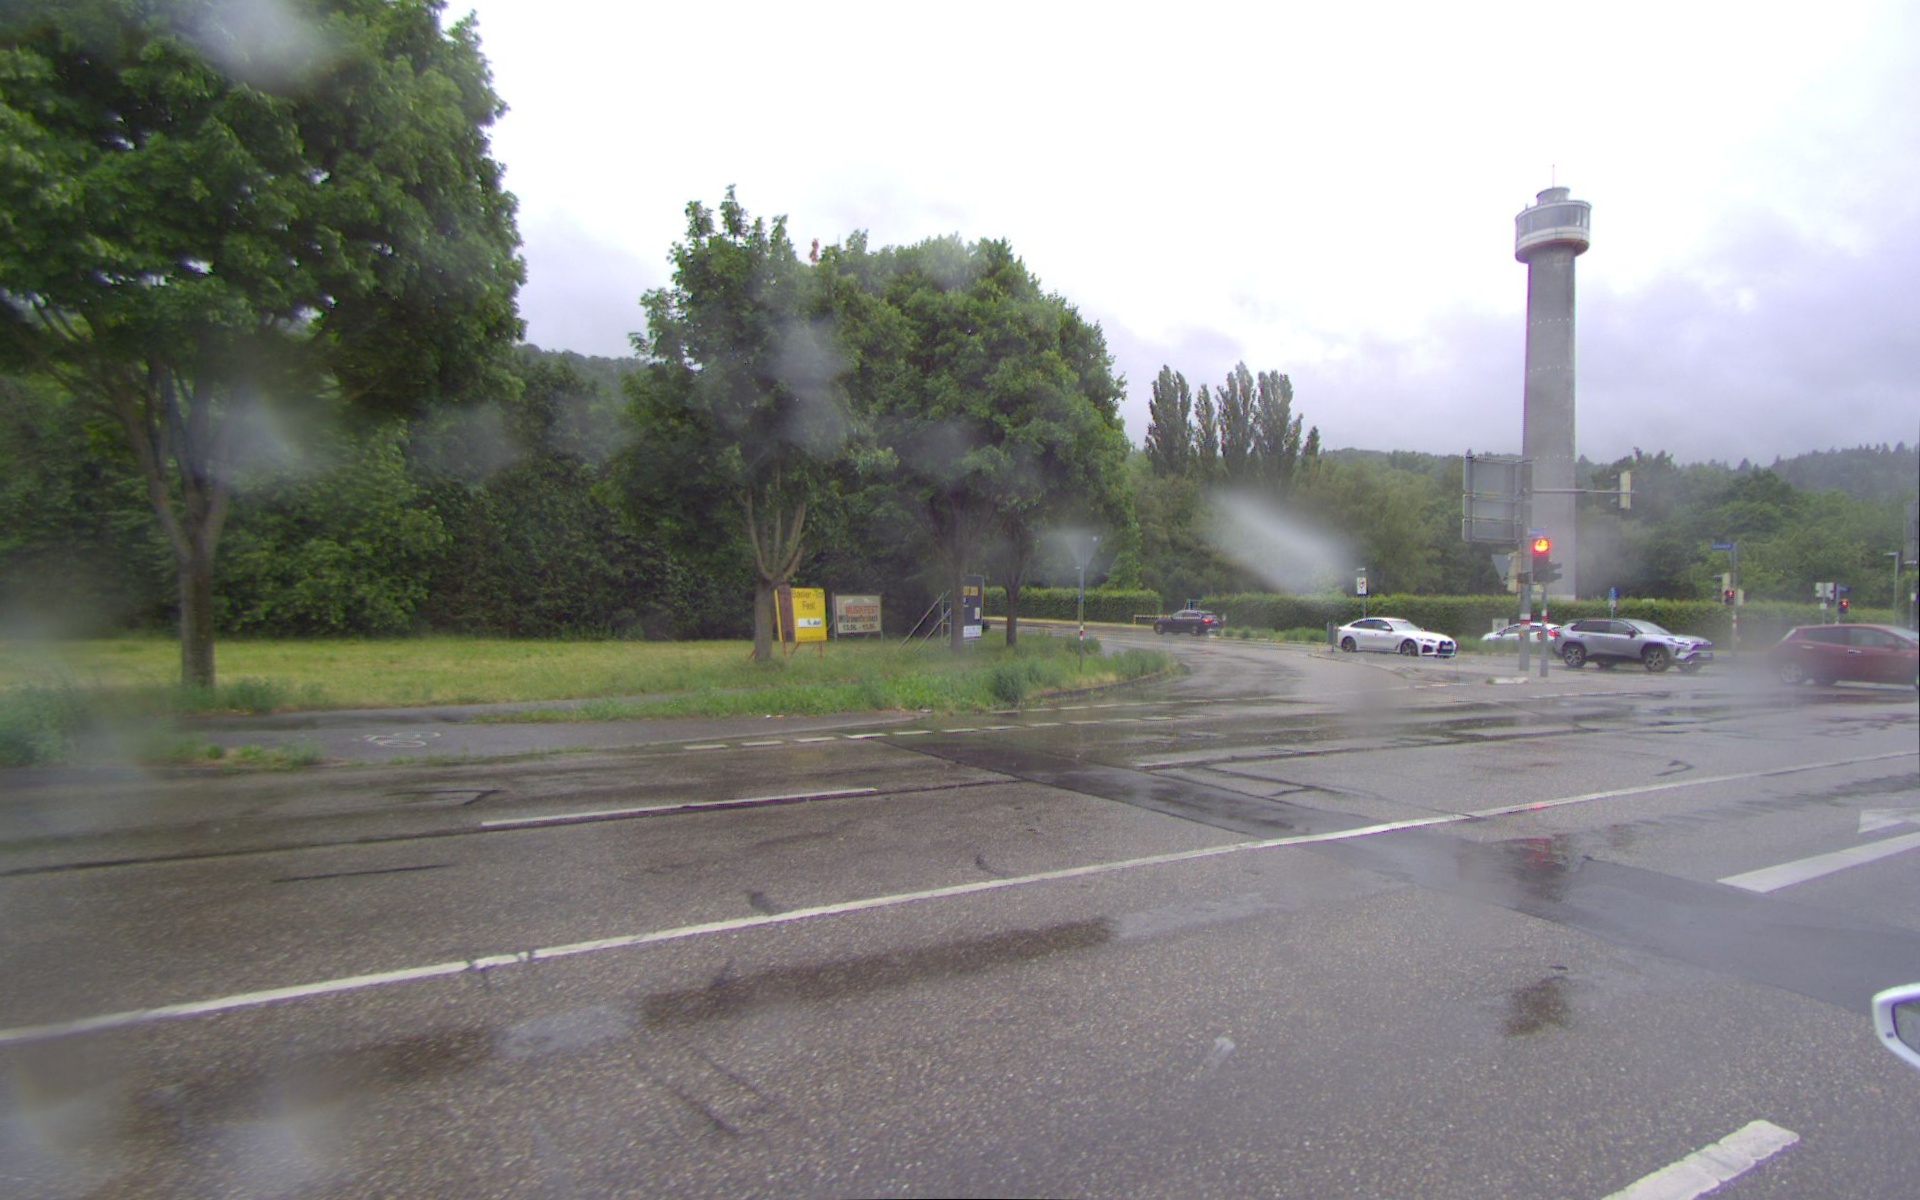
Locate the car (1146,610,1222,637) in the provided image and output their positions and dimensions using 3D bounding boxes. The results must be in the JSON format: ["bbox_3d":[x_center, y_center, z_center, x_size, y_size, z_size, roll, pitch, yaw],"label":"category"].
[{"bbox_3d":[14.394,1.506,64.639,1.808,1.661,4.629,1,-1,-41],"label":"car"}]

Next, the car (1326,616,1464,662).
[{"bbox_3d":[16.072,1.397,37.413,1.773,1.574,4.872,1,-1,-22],"label":"car"}]

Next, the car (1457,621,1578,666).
[{"bbox_3d":[26.286,2.023,47.516,1.897,1.941,4.636,1,-1,-36],"label":"car"}]

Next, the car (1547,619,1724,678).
[{"bbox_3d":[21.953,1.522,32.861,1.885,1.601,4.517,1,1,-23],"label":"car"}]

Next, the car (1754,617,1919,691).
[{"bbox_3d":[21.990,1.267,24.076,1.708,1.600,4.364,1,0,-24],"label":"car"}]

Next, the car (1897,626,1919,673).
[{"bbox_3d":[34.117,1.687,32.930,1.800,1.574,4.651,1,-1,-28],"label":"car"}]
